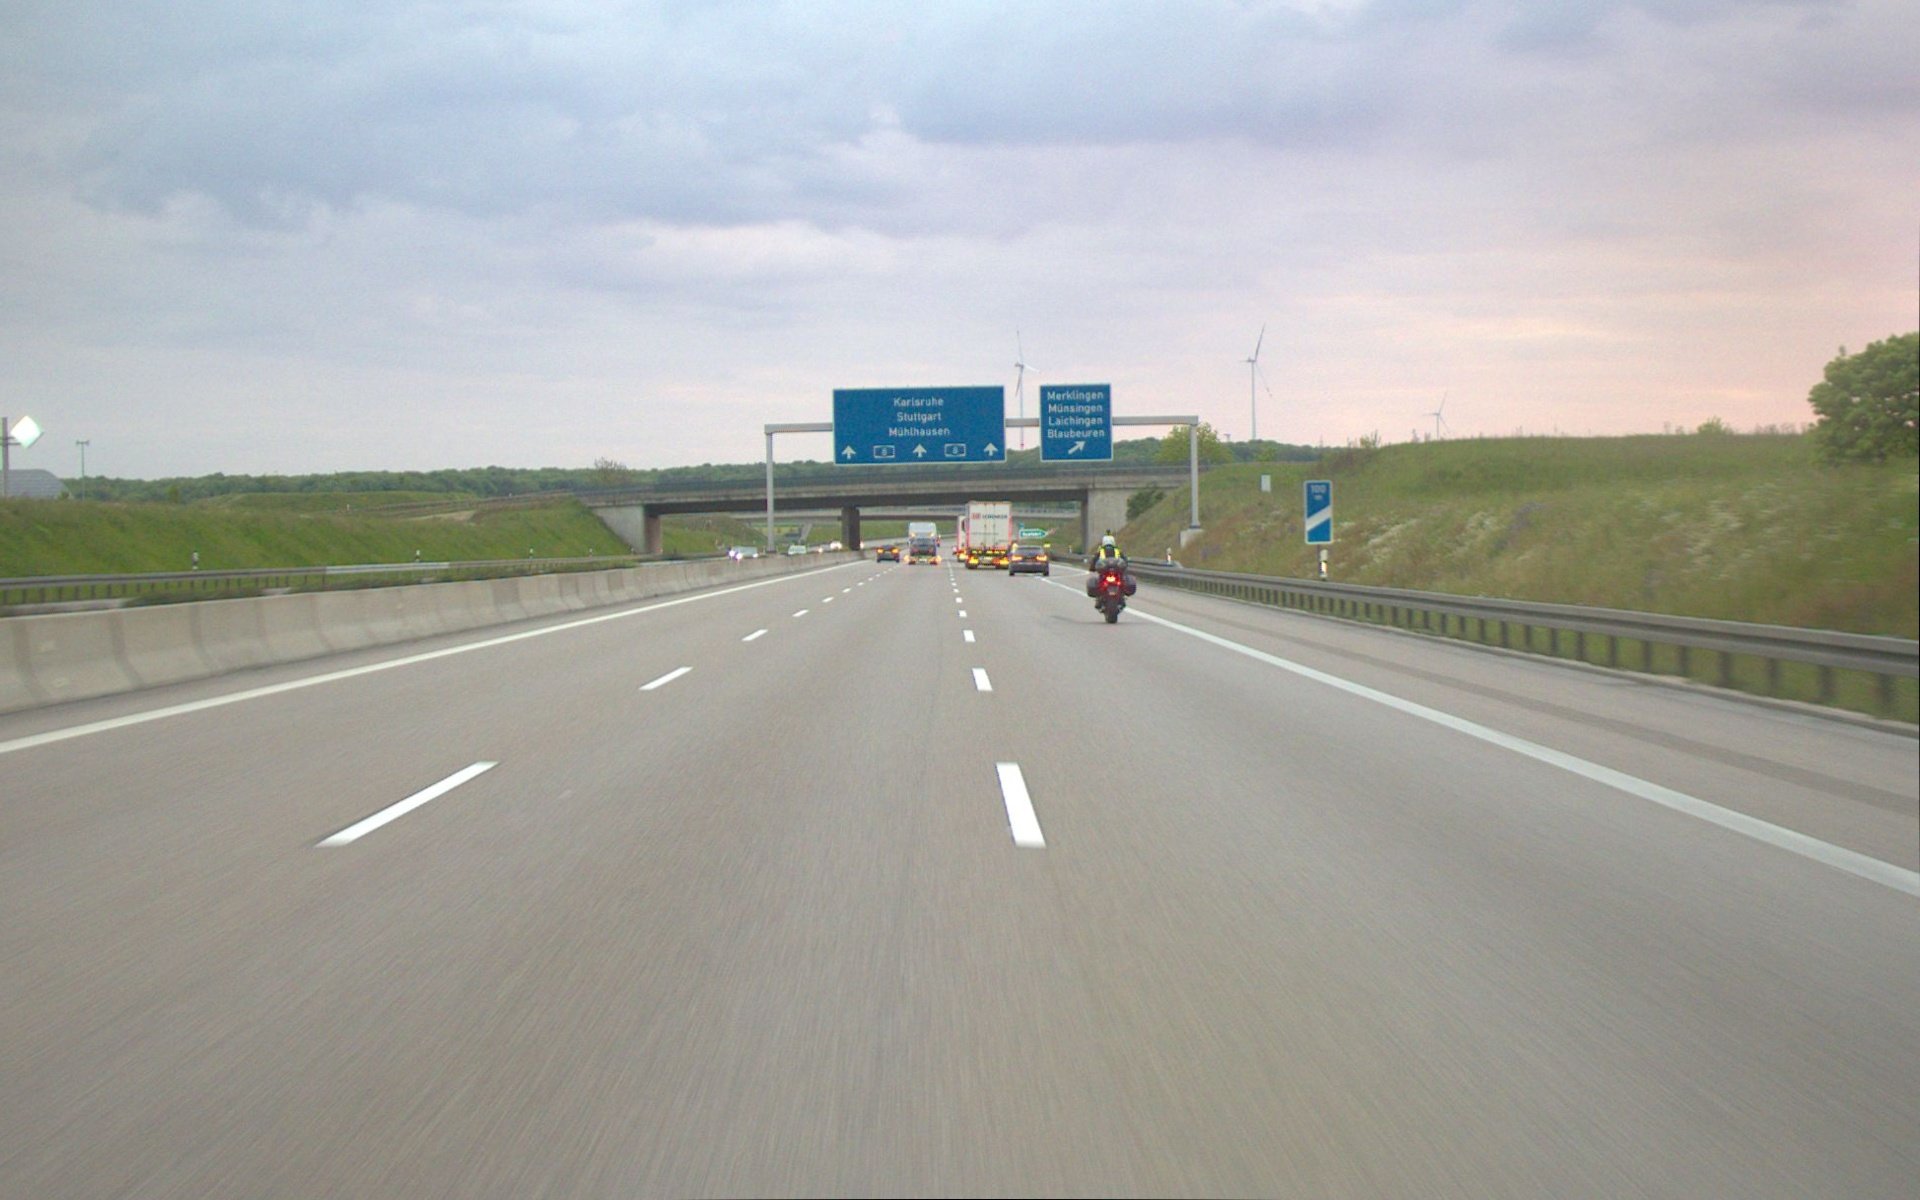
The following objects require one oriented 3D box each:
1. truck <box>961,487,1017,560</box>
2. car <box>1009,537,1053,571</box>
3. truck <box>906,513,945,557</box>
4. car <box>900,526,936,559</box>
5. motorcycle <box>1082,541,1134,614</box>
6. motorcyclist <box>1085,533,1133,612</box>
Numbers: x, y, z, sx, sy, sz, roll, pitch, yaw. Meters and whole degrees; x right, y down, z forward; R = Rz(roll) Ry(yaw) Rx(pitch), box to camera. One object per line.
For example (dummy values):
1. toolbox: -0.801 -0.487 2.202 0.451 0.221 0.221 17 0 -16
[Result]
1. truck: 1.726 -4.615 206.044 3.234 4.213 9.599 1 2 0
2. car: 3.375 -2.220 164.112 1.918 1.574 4.000 0 1 -1
3. truck: -2.661 -5.013 264.177 2.951 3.206 8.406 1 2 -1
4. car: -3.044 -4.154 247.919 2.516 2.383 6.497 0 1 -1
5. motorcycle: 2.839 -0.449 66.033 0.902 1.342 2.349 0 2 0
6. motorcyclist: 2.848 -0.536 65.910 0.866 1.482 1.168 1 2 1
